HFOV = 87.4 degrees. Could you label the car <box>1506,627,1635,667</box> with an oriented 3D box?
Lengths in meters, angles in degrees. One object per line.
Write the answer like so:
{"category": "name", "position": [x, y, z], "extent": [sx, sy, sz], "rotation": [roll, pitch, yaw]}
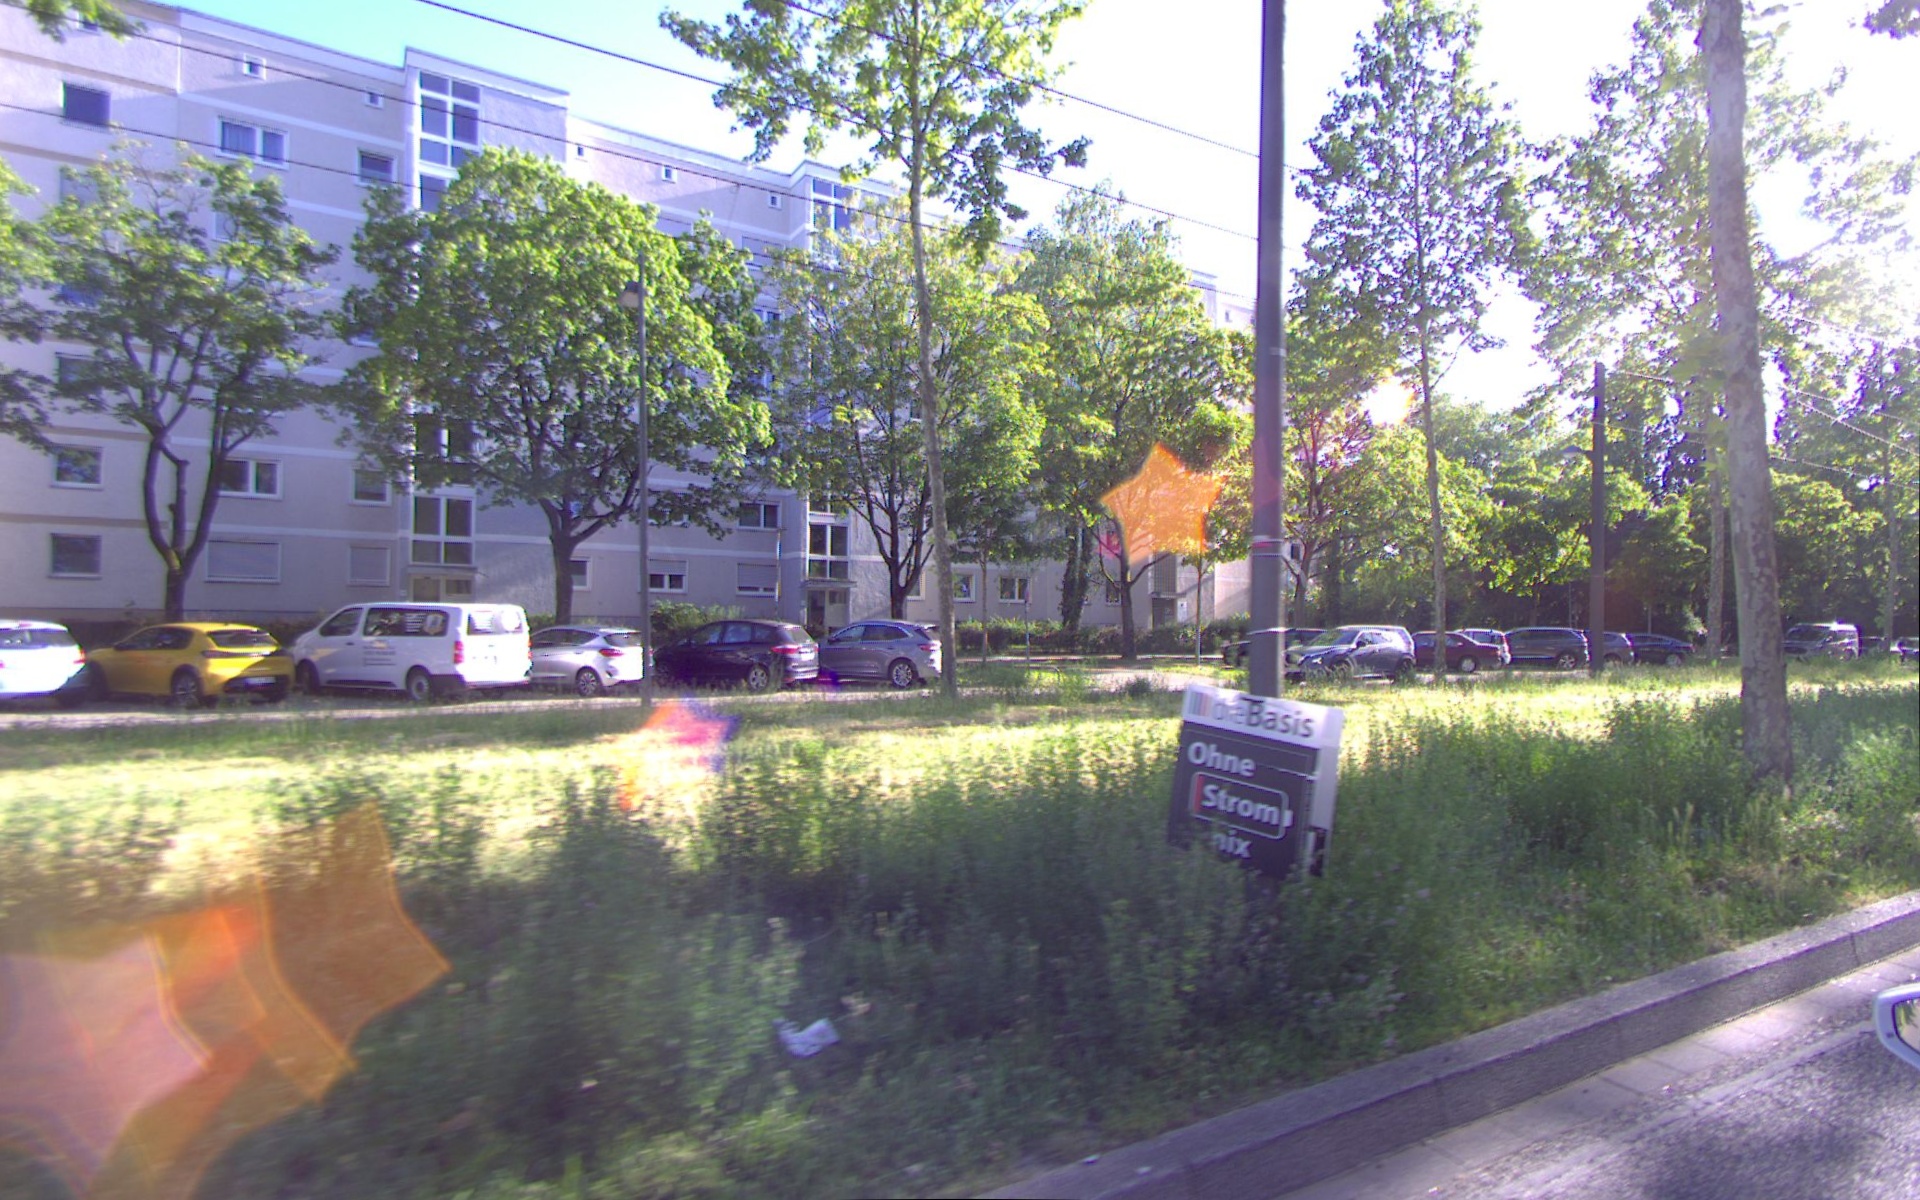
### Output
{"category": "car", "position": [26.084, 2.000, 43.068], "extent": [4.397, 1.589, 1.796], "rotation": [0, -2, 18]}

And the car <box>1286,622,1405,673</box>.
{"category": "car", "position": [13.771, 1.671, 36.088], "extent": [3.900, 1.697, 1.788], "rotation": [0, -2, 18]}

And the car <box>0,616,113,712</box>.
{"category": "car", "position": [-16.751, 1.031, 17.148], "extent": [4.004, 1.502, 1.652], "rotation": [0, -1, 19]}

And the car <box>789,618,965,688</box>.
{"category": "car", "position": [-2.105, 1.291, 25.618], "extent": [4.006, 1.628, 1.994], "rotation": [0, 0, 22]}

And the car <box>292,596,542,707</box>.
{"category": "car", "position": [-10.945, 0.953, 20.227], "extent": [4.706, 2.033, 1.891], "rotation": [0, 0, 22]}

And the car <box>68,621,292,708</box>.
{"category": "car", "position": [-14.505, 1.130, 18.671], "extent": [4.007, 1.451, 1.578], "rotation": [0, -1, 24]}

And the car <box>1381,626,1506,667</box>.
{"category": "car", "position": [19.137, 1.821, 39.930], "extent": [4.401, 1.501, 1.617], "rotation": [0, -2, 24]}

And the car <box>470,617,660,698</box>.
{"category": "car", "position": [-8.641, 1.195, 21.922], "extent": [4.009, 1.451, 1.577], "rotation": [2, 1, 27]}

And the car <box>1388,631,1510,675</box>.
{"category": "car", "position": [18.047, 1.935, 37.242], "extent": [3.843, 1.507, 1.796], "rotation": [0, -2, 18]}

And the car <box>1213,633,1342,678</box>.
{"category": "car", "position": [10.679, 1.850, 33.975], "extent": [4.048, 1.355, 1.796], "rotation": [0, -1, 15]}

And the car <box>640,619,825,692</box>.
{"category": "car", "position": [-5.339, 1.236, 23.567], "extent": [4.009, 1.551, 1.816], "rotation": [0, 0, 27]}

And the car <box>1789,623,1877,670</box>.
{"category": "car", "position": [43.299, 2.306, 49.791], "extent": [4.854, 2.121, 1.638], "rotation": [2, 1, -28]}

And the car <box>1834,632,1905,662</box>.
{"category": "car", "position": [48.203, 2.489, 53.225], "extent": [3.618, 1.472, 1.638], "rotation": [2, 1, -28]}

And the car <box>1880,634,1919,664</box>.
{"category": "car", "position": [52.596, 2.693, 55.241], "extent": [3.530, 1.472, 1.864], "rotation": [2, 1, -28]}

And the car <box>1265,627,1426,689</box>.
{"category": "car", "position": [10.339, 1.517, 26.904], "extent": [4.036, 1.526, 1.915], "rotation": [1, -1, -30]}

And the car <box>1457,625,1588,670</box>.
{"category": "car", "position": [22.948, 1.914, 41.174], "extent": [4.397, 1.697, 1.796], "rotation": [0, -2, 18]}

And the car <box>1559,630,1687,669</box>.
{"category": "car", "position": [29.427, 2.174, 44.732], "extent": [4.397, 1.589, 1.796], "rotation": [0, -2, 18]}
